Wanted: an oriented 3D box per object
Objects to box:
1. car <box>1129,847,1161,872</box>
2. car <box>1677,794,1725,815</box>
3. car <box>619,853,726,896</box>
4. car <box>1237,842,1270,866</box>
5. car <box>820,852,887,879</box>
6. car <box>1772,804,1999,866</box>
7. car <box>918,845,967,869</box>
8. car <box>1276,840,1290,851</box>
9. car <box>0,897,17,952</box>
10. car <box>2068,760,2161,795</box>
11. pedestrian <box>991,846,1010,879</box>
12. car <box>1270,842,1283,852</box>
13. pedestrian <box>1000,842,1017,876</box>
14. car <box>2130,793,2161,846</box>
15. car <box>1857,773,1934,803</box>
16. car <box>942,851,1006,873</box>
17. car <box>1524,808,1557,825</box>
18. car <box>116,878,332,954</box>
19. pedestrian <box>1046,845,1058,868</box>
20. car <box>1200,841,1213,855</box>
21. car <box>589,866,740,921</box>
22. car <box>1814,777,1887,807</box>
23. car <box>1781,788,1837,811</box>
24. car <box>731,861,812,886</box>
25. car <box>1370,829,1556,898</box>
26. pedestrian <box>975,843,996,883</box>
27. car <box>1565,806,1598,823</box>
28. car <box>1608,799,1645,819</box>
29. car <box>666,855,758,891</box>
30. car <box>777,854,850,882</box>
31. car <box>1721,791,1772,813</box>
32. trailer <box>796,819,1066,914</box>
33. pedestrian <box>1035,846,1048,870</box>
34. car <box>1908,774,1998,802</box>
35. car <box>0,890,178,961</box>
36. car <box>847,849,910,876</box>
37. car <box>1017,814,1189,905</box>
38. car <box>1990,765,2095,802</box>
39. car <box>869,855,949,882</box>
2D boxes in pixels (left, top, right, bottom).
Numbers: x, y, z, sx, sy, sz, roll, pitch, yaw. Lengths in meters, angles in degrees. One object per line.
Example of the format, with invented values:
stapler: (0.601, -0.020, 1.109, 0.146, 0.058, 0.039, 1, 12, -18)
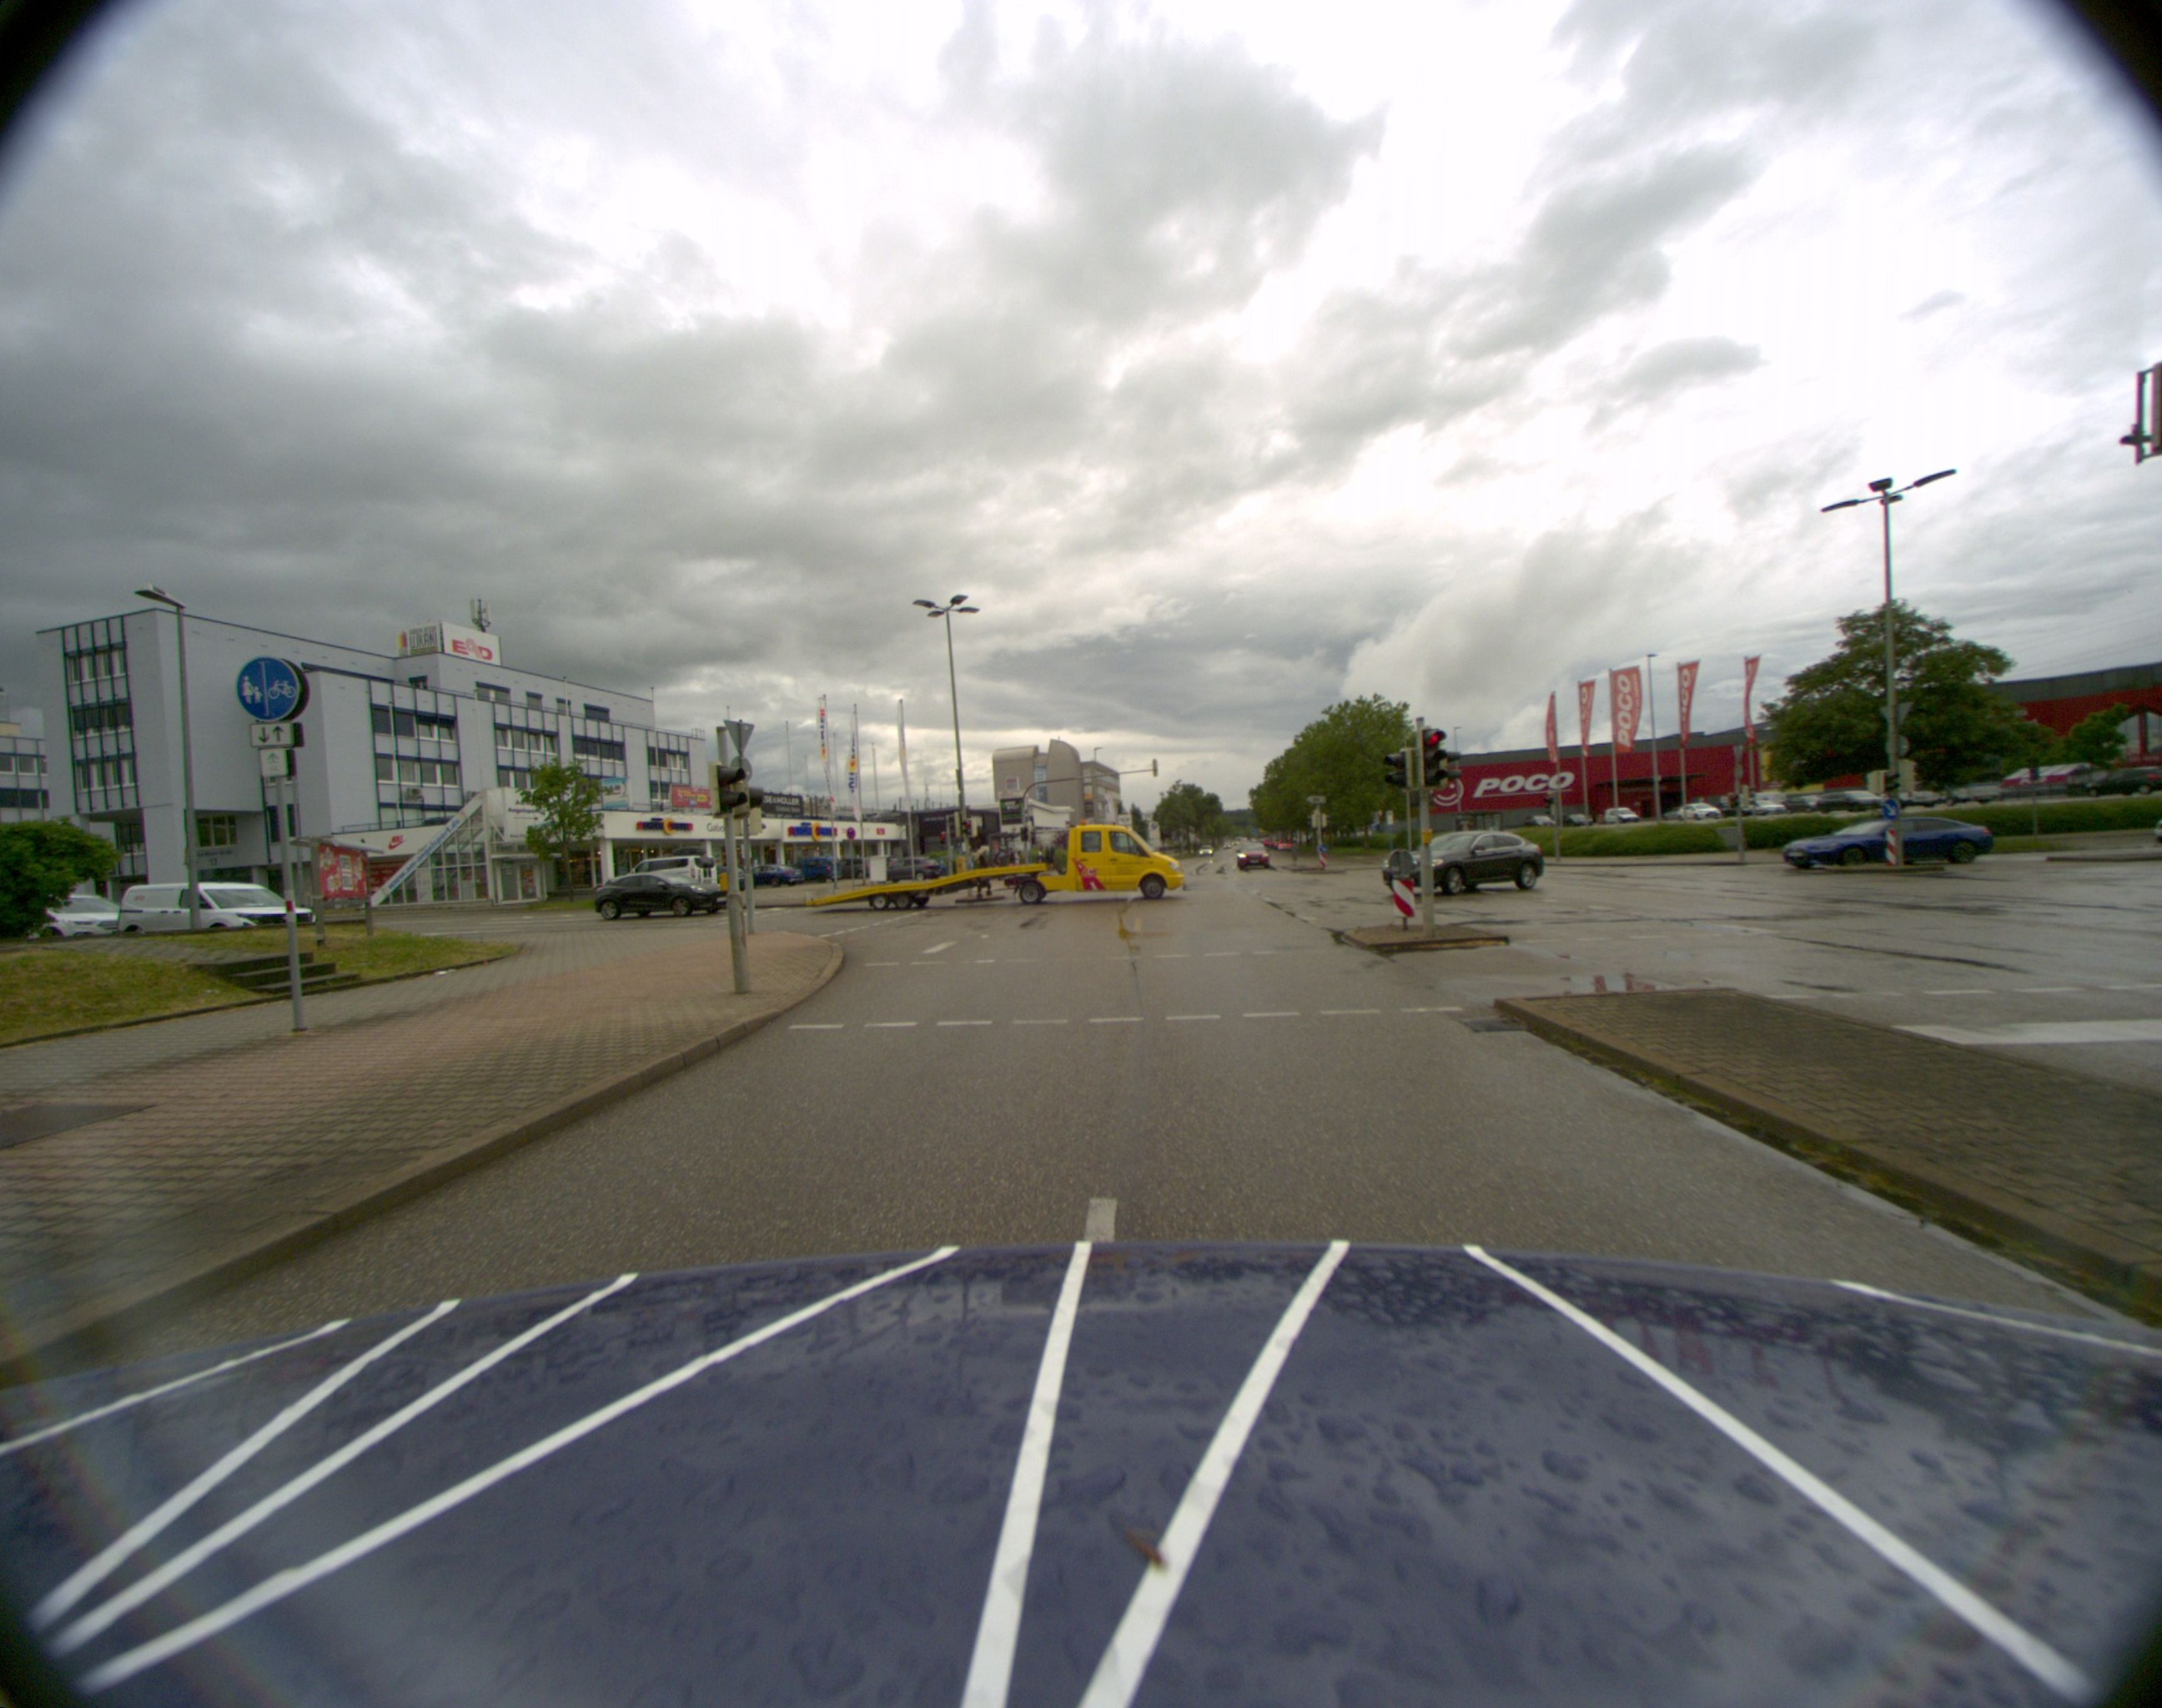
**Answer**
car: (4.022, 0.294, 47.105, 1.753, 1.455, 4.002, 0, 1, 8)
car: (55.642, -4.398, 68.243, 1.670, 1.636, 3.966, -2, 0, 12)
car: (-21.291, 1.062, 39.638, 4.778, 2.002, 2.002, -2, 0, 15)
car: (10.794, -0.027, 47.749, 1.716, 1.455, 4.002, 0, 1, 8)
car: (-17.175, 0.862, 57.466, 4.367, 1.754, 1.899, -2, 1, 14)
car: (24.036, -0.544, 22.875, 4.545, 1.623, 1.803, -2, 1, 9)
car: (-13.027, 0.275, 71.493, 3.992, 2.002, 1.913, -2, 1, 17)
car: (30.141, -1.288, 113.338, 1.841, 1.579, 4.004, -1, -1, 11)
car: (-33.617, 2.147, 21.908, 3.994, 1.589, 1.825, -2, 1, 10)
car: (60.790, -4.439, 44.427, 1.670, 1.636, 3.830, -2, 0, 12)
pedestrian: (-4.517, 0.474, 42.576, 0.814, 1.846, 0.698, -1, 3, 14)
car: (31.775, -1.160, 123.611, 1.841, 1.579, 4.003, -2, 0, 11)
pedestrian: (-4.275, 0.295, 44.748, 0.740, 2.002, 0.698, -2, 1, 14)
car: (33.954, -1.100, 21.930, 3.993, 1.544, 1.904, -2, 0, 15)
car: (55.021, -4.424, 51.402, 1.629, 1.636, 3.830, -2, 0, 12)
car: (-7.777, 0.555, 55.254, 4.119, 1.386, 1.901, -2, 1, 14)
car: (48.332, -3.916, 79.949, 1.695, 1.636, 3.966, -2, 0, 12)
car: (-22.513, 1.608, 20.014, 4.242, 1.772, 1.801, -2, -1, 10)
pedestrian: (-2.169, 0.162, 56.849, 0.713, 1.701, 0.698, -2, 1, 15)
car: (17.012, -0.797, 103.262, 1.619, 1.718, 3.681, -2, 0, 10)
car: (-13.868, 1.297, 25.411, 3.995, 1.532, 1.815, -3, 2, 6)
car: (52.028, -4.162, 51.473, 1.670, 1.636, 3.830, -2, 0, 12)
car: (62.894, -4.680, 65.706, 1.670, 1.636, 3.966, -2, 0, 12)
car: (-19.255, 1.209, 47.334, 4.367, 1.386, 1.825, -2, 1, 14)
car: (10.230, 0.218, 20.340, 4.597, 1.544, 1.898, -3, 1, -24)
pedestrian: (-4.944, 0.459, 39.453, 0.817, 2.002, 0.695, -3, 2, -29)
car: (54.768, -4.254, 83.194, 1.695, 1.636, 3.966, -2, 0, 12)
car: (59.581, -4.940, 83.074, 1.789, 1.914, 3.753, -2, 0, 11)
car: (-20.760, 1.078, 42.789, 4.367, 1.809, 1.899, -2, 1, 14)
car: (-18.532, 0.981, 52.709, 4.367, 1.754, 1.899, -2, 1, 14)
car: (58.354, -4.494, 66.711, 1.670, 1.636, 3.966, -2, 0, 12)
trailer: (-4.613, 0.387, 24.164, 7.962, 2.459, 2.312, -3, 0, 5)
pedestrian: (-2.795, 0.285, 54.173, 0.700, 1.701, 0.698, -2, 1, 15)
car: (54.307, -4.108, 47.436, 1.670, 1.373, 3.912, -2, 0, 12)
car: (-27.549, 1.943, 20.811, 3.994, 1.698, 1.825, -2, 1, 10)
car: (-15.978, 0.639, 60.027, 4.367, 1.895, 1.899, -2, 1, 14)
car: (0.726, 0.168, 23.725, 5.009, 2.459, 2.247, -3, 0, 5)
car: (74.148, -5.397, 58.729, 1.823, 2.290, 5.652, -2, 0, 12)
car: (-10.008, 0.847, 44.317, 4.118, 1.386, 1.825, -2, 1, 17)
